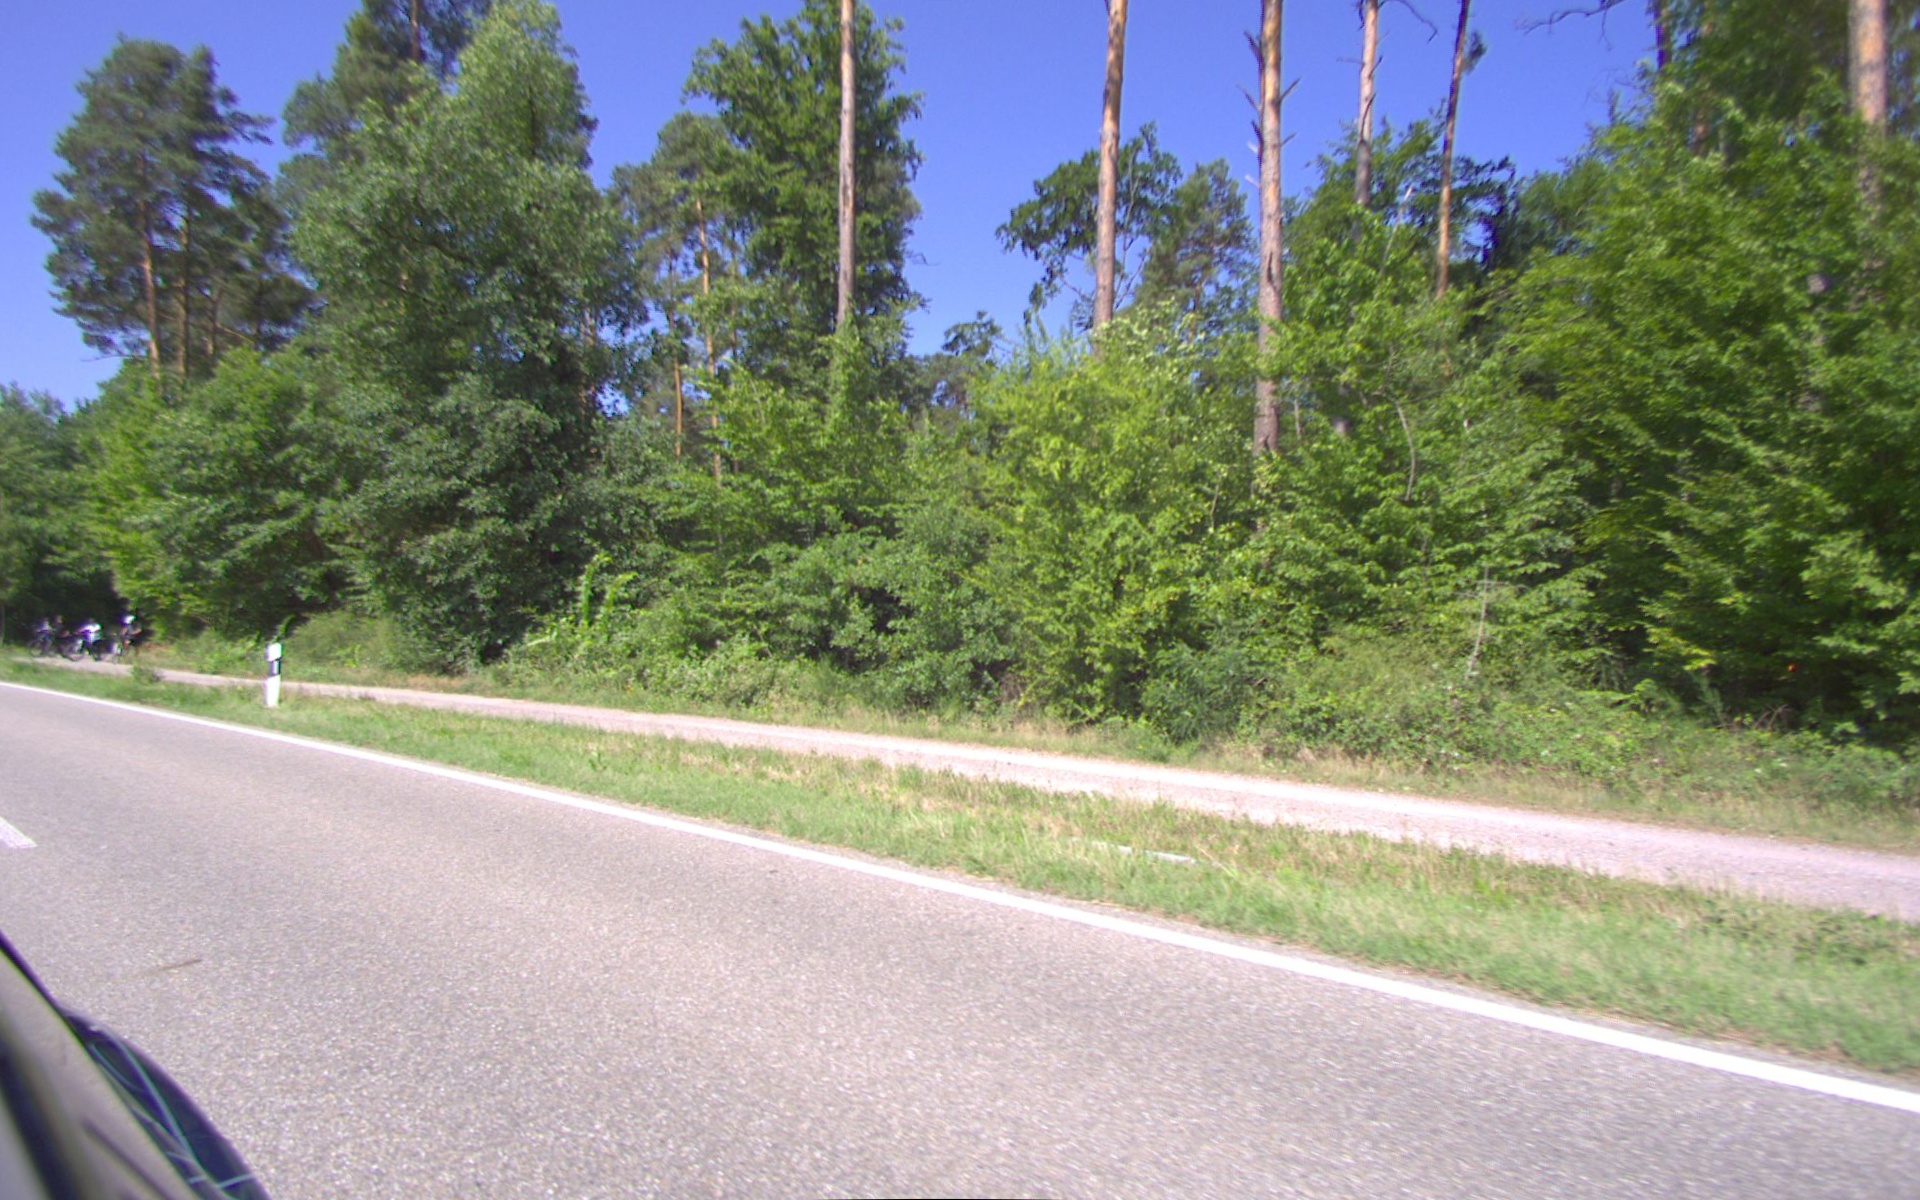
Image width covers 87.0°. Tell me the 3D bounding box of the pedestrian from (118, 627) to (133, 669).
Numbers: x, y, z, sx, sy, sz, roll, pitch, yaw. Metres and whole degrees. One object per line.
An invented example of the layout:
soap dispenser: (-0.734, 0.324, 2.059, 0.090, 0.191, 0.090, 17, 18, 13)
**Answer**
pedestrian: (-31.155, 1.799, 37.791, 0.388, 1.550, 0.282, -1, -2, 26)

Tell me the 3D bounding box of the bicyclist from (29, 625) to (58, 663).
bicyclist: (-39.038, 1.876, 43.123, 0.596, 1.557, 0.874, 0, 0, -16)

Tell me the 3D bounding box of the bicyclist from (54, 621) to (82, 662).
bicyclist: (-38.275, 1.764, 43.417, 0.596, 1.713, 0.853, 0, 0, -16)

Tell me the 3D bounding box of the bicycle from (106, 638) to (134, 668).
bicycle: (-31.321, 1.962, 37.737, 0.572, 1.094, 1.451, -1, -1, -30)

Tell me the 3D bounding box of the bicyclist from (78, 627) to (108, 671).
bicyclist: (-34.918, 1.973, 40.779, 0.596, 1.732, 0.791, 0, 0, -9)

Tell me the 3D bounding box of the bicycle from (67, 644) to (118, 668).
bicycle: (-34.907, 2.262, 40.757, 0.596, 0.836, 1.989, 0, 0, -9)

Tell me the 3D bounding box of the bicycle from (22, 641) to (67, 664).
bicycle: (-39.014, 2.225, 43.141, 0.596, 0.836, 1.991, 0, 0, -16)

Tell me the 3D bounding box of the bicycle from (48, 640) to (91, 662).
bicycle: (-38.308, 2.190, 43.555, 0.596, 0.836, 1.991, 0, 0, -16)
